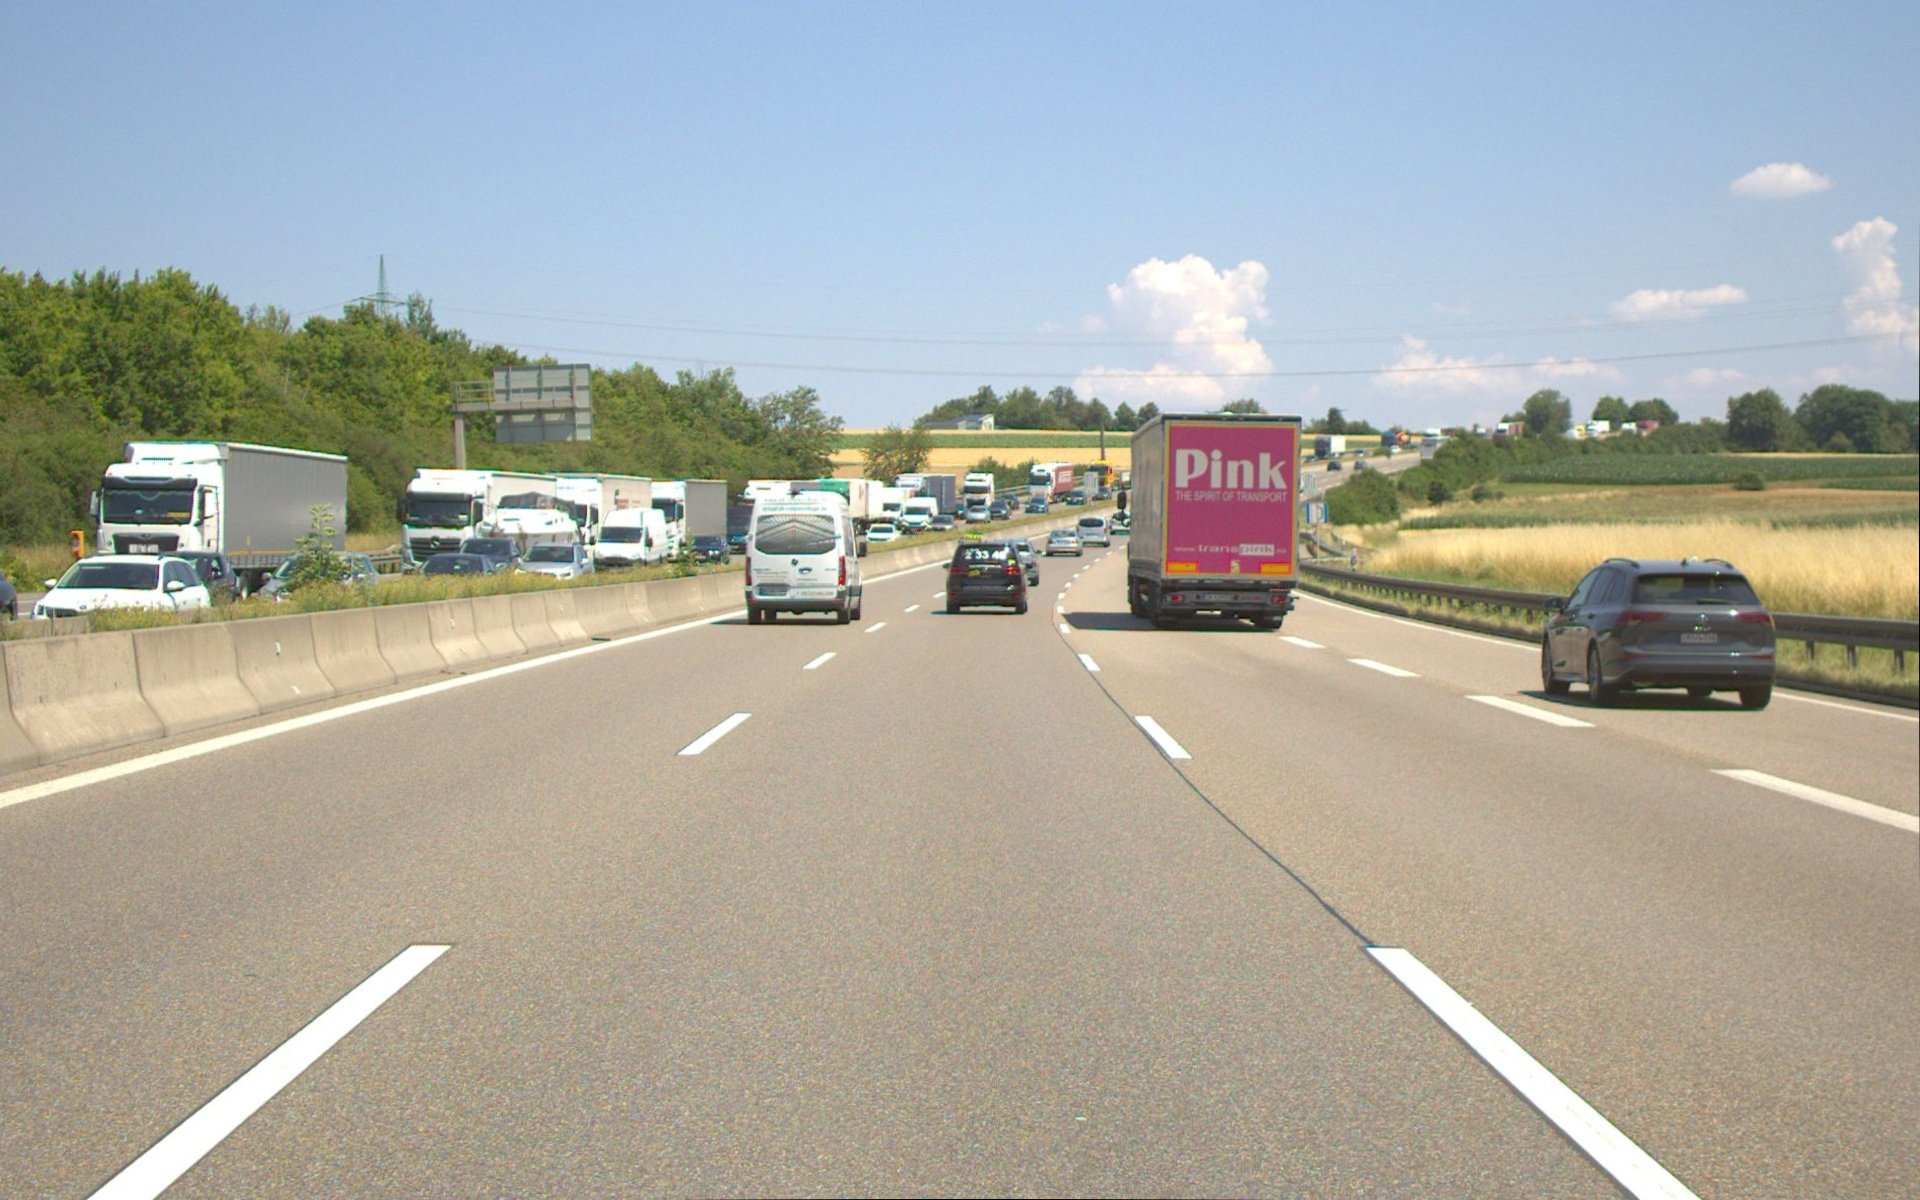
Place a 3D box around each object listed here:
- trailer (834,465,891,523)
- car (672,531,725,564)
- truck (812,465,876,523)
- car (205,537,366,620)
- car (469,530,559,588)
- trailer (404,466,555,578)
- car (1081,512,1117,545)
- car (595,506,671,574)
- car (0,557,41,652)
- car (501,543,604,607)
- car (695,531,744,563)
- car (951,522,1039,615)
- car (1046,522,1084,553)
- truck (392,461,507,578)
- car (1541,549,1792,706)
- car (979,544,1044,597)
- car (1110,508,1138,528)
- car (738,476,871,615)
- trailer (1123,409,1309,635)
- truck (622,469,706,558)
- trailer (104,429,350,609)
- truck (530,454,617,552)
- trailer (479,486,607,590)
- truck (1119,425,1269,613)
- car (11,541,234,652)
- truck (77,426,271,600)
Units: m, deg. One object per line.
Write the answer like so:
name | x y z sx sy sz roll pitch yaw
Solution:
trailer | -7.086 -7.782 250.768 2.921 4.057 8.229 -1 2 7
car | -12.058 -2.440 158.599 1.876 1.429 4.924 1 1 2
truck | -8.103 -7.457 241.077 2.843 3.885 11.246 -1 2 6
car | -12.212 -0.423 62.523 1.993 1.440 4.793 0 1 0
car | -13.411 -1.246 103.641 2.107 1.717 4.931 0 1 0
trailer | -17.462 -2.860 126.098 2.903 3.860 13.876 0 1 3
car | 8.391 -4.311 207.697 1.994 1.897 3.999 0 1 4
car | -12.799 -2.362 134.923 1.897 2.565 7.572 0 1 3
car | -15.616 0.077 51.693 1.878 1.445 4.630 0 1 7
car | -10.921 -0.696 92.430 1.842 1.671 4.441 0 1 5
car | -13.399 -2.955 191.472 1.994 1.720 4.406 0 1 6
car | 0.823 -0.749 78.062 1.847 1.854 4.206 0 4 3
car | 5.541 -3.320 181.692 1.993 1.579 4.000 0 2 2
truck | -17.766 -2.811 119.964 2.848 3.993 5.974 0 1 3
car | 7.093 0.242 34.927 1.761 1.466 4.536 1 1 2
car | 1.769 -1.019 116.813 1.994 1.744 4.000 1 1 4
car | 11.715 -5.872 245.612 1.994 1.305 4.000 0 3 3
car | -3.024 -1.054 67.716 2.180 2.616 4.672 1 1 3
trailer | 5.015 -1.662 69.923 2.918 4.103 13.859 1 2 1
truck | -14.432 -4.230 168.171 2.962 4.195 6.603 1 1 5
trailer | -19.166 -2.115 91.072 3.222 4.406 13.780 0 1 2
truck | -16.291 -4.099 145.222 2.755 4.029 6.099 1 2 2
trailer | -13.409 -1.965 111.369 2.869 3.172 10.730 1 1 0
truck | 5.167 -1.858 76.934 2.916 3.994 6.511 1 2 1
car | -12.061 -0.087 49.839 1.993 1.515 5.152 0 1 0
truck | -19.272 -2.115 84.636 3.199 4.118 6.183 0 1 2
